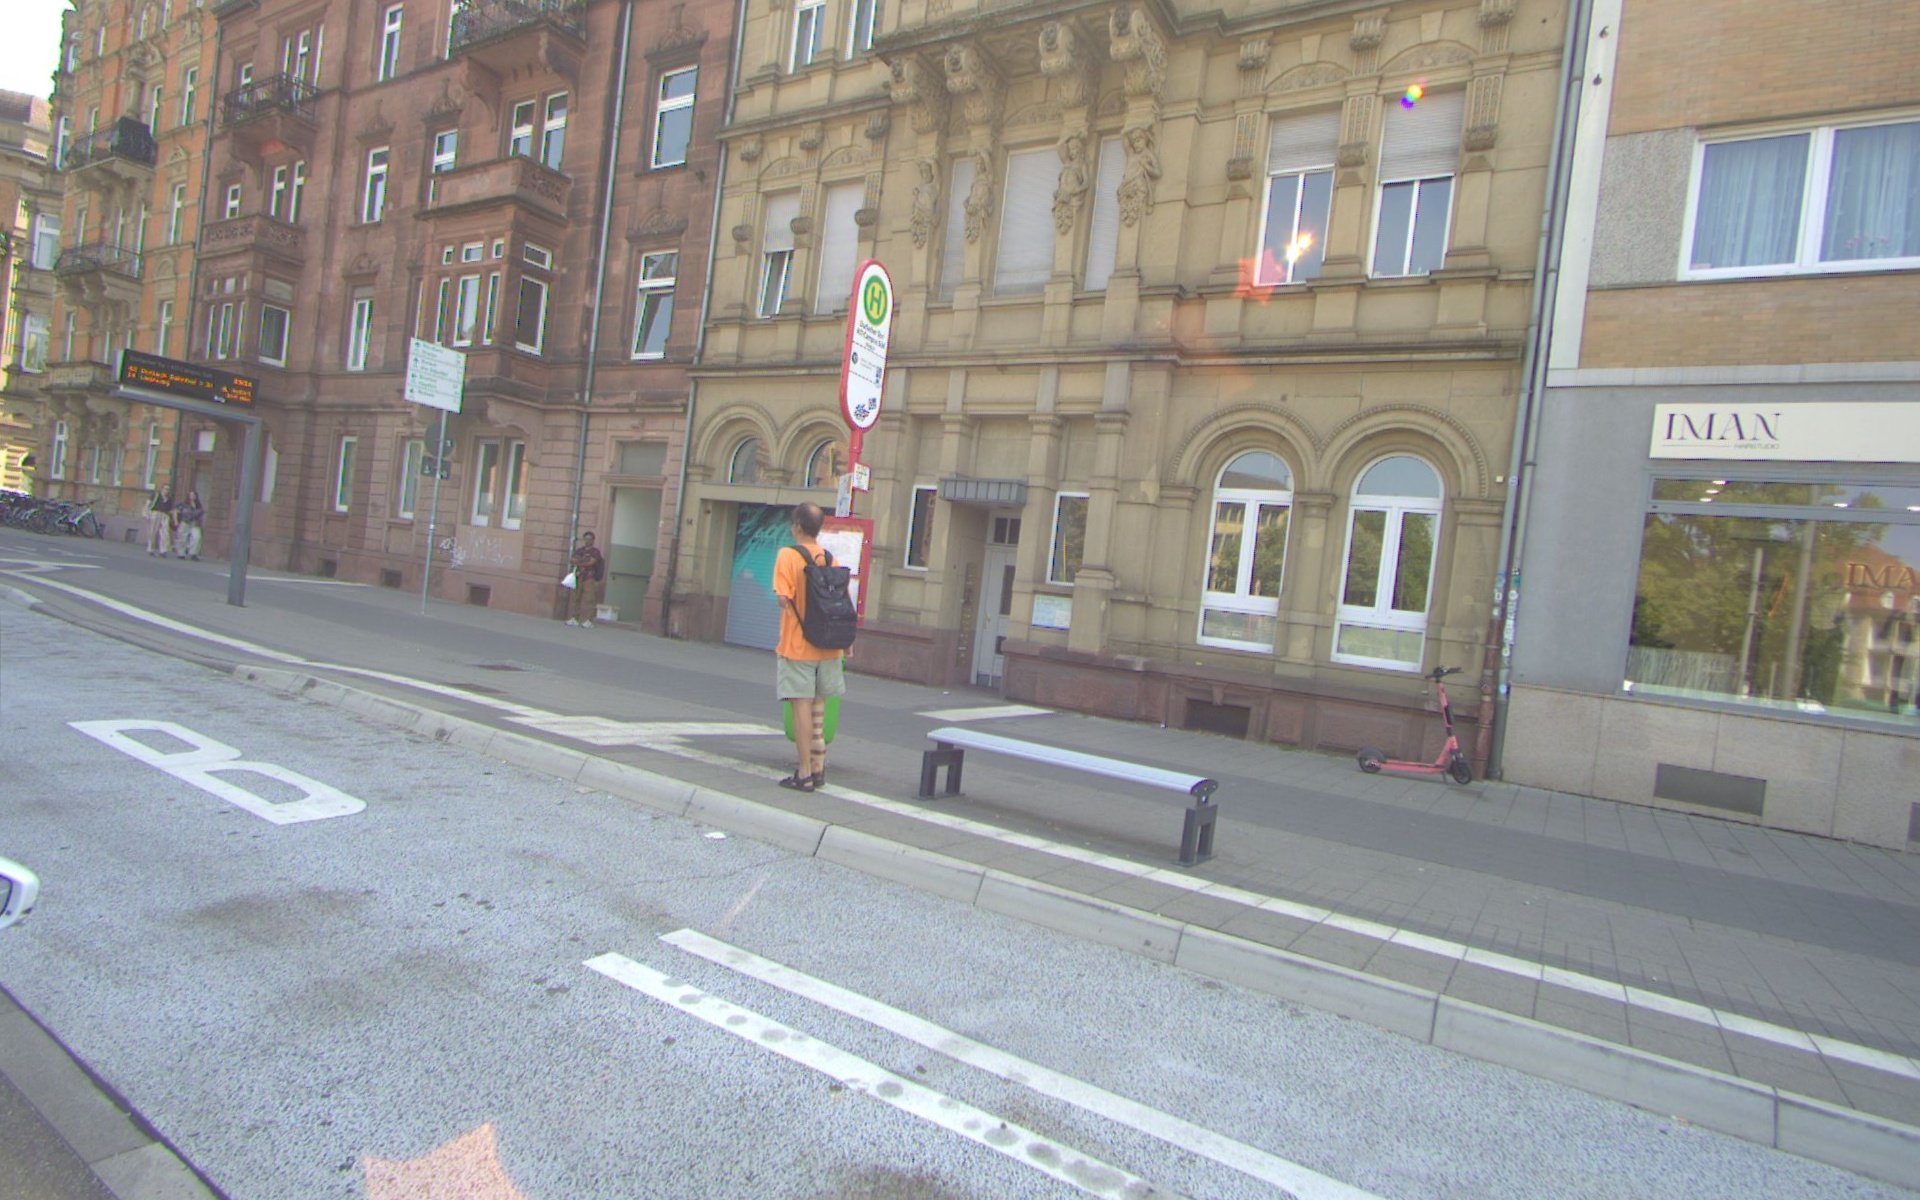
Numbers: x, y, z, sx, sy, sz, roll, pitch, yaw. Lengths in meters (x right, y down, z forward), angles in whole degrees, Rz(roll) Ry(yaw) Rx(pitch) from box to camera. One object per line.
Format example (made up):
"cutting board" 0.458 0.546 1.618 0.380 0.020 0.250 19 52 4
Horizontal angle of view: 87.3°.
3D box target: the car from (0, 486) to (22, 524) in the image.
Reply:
"car" -42.008 -4.241 41.869 1.652 1.539 3.942 7 0 24

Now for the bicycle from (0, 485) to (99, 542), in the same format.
"bicycle" -27.883 -2.638 30.114 0.857 1.388 2.997 7 0 31

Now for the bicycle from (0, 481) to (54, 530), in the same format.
"bicycle" -31.106 -3.141 32.132 0.932 1.390 3.007 7 0 31

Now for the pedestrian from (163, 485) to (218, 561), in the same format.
"pedestrian" -19.676 -1.971 25.726 0.856 1.800 0.715 7 1 30

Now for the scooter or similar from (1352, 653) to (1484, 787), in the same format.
"scooter or similar" 4.876 1.254 10.723 1.122 1.228 0.476 7 1 27

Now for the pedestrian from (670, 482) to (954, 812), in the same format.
"pedestrian" -0.908 0.256 6.167 1.220 1.762 0.964 7 0 37

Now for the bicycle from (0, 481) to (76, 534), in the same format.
"bicycle" -29.422 -2.940 31.064 0.857 1.388 2.997 7 0 31

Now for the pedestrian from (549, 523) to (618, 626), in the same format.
"pedestrian" -7.038 -0.462 18.824 0.729 1.800 0.870 7 1 4

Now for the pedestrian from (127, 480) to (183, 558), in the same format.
"pedestrian" -20.123 -2.020 25.146 0.833 1.798 0.715 7 1 31

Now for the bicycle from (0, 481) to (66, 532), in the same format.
"bicycle" -30.204 -3.035 31.554 0.932 1.390 3.007 7 0 31

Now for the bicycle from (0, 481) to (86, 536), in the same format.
"bicycle" -28.648 -2.853 30.552 0.857 1.388 2.997 7 0 31

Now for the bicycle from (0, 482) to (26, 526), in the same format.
"bicycle" -33.077 -3.379 33.275 0.932 1.390 3.007 7 0 31

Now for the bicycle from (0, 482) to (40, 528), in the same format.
"bicycle" -31.989 -3.246 32.583 0.932 1.390 3.007 7 0 31

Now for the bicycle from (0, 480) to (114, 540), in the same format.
"bicycle" -27.068 -2.675 29.721 0.857 1.388 2.997 7 0 31

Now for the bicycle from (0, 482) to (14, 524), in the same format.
"bicycle" -33.962 -3.483 33.781 0.932 1.390 3.007 7 0 31
